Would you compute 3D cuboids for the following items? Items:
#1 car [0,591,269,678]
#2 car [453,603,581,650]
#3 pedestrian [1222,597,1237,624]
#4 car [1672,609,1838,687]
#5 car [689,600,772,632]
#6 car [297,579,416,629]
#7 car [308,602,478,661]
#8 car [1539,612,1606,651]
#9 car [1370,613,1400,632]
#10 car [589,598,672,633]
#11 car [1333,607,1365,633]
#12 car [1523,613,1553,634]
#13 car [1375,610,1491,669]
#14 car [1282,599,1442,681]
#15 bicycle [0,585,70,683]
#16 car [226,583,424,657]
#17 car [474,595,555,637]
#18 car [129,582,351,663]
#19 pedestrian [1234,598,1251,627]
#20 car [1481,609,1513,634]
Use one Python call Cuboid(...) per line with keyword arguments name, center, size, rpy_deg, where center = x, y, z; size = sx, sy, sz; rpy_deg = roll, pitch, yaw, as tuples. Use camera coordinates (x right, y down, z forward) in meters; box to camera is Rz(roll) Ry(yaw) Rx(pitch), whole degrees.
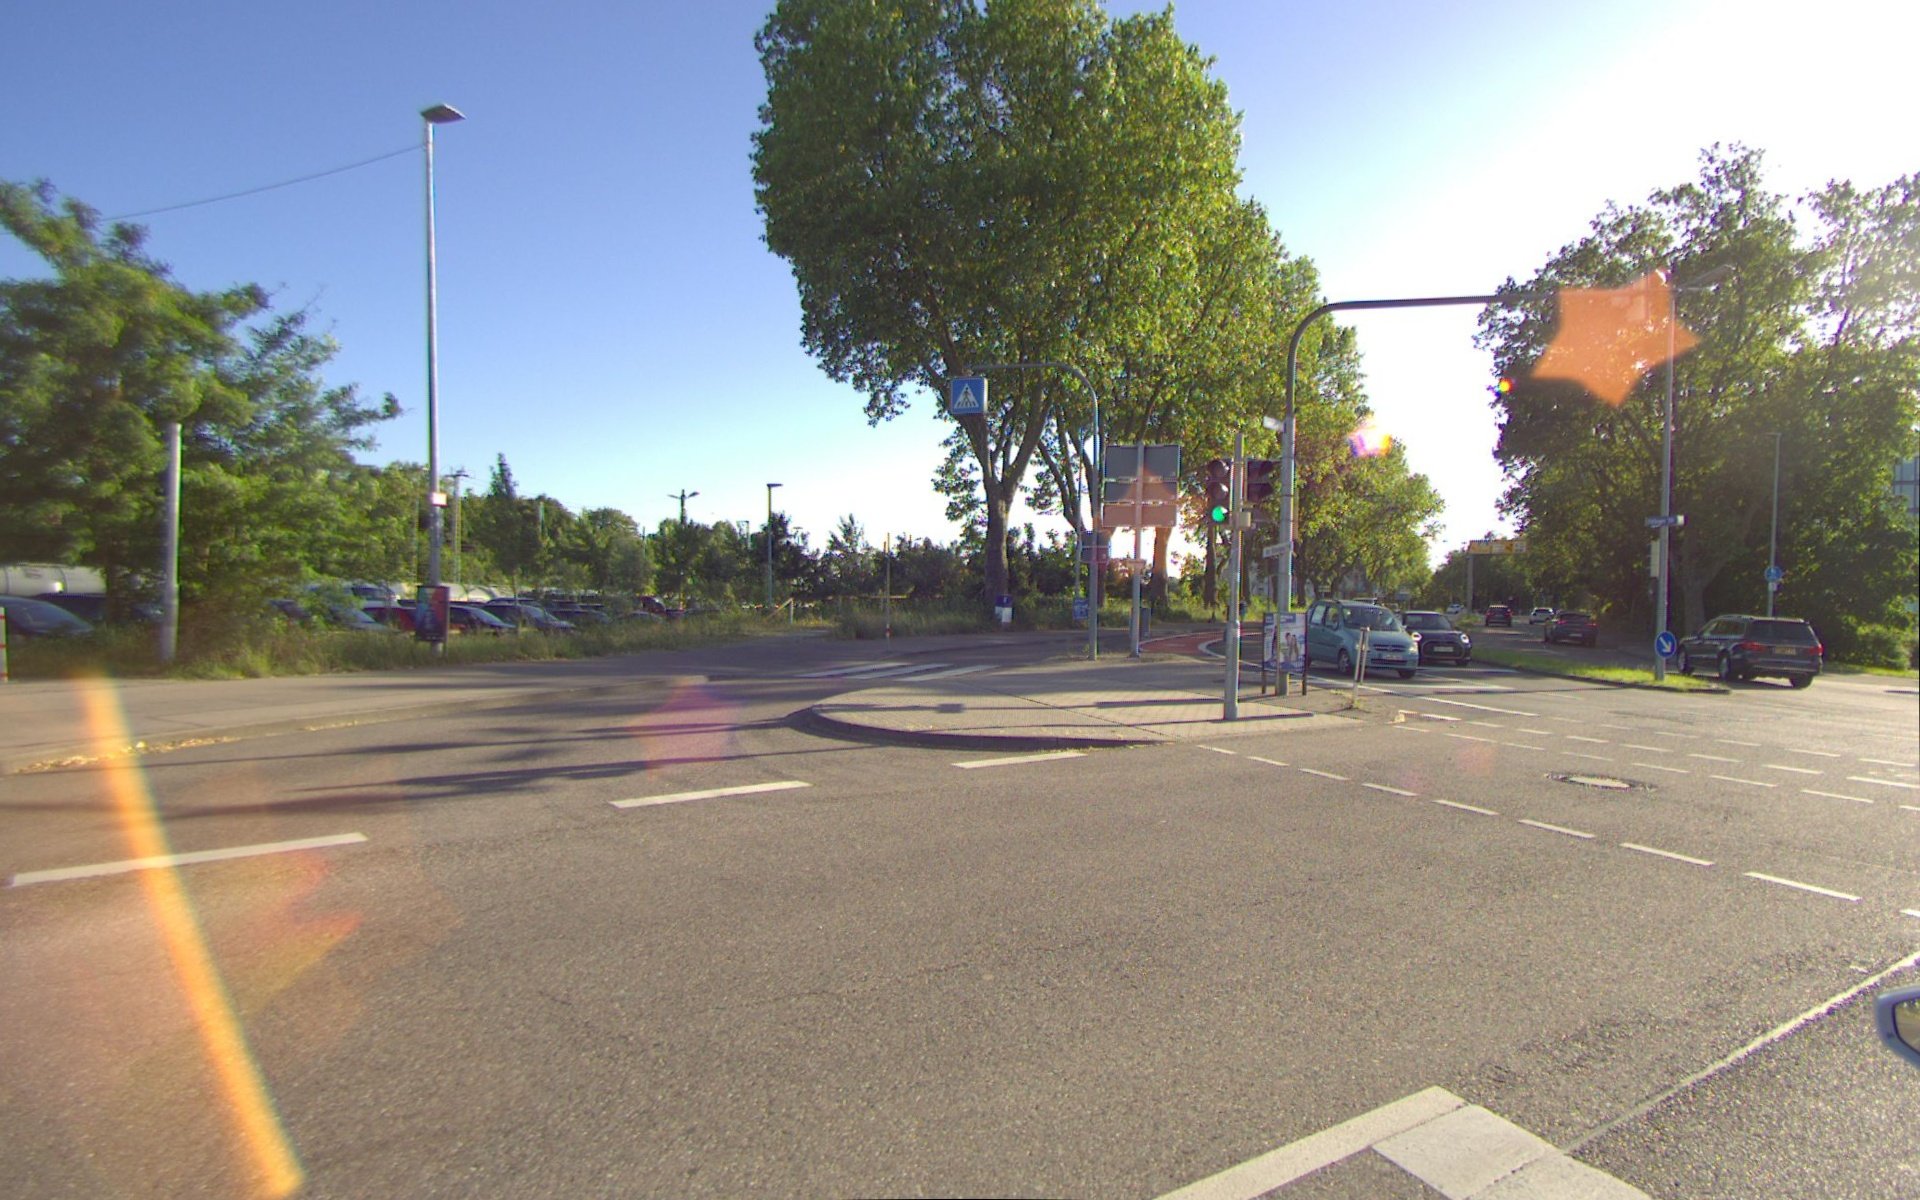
Cuboid(name="car", center=(-16.403, 0.648, 20.006), size=(3.920, 1.500, 1.965), rpy_deg=(2, 0, 2))
Cuboid(name="car", center=(-15.882, 0.918, 36.050), size=(3.922, 1.494, 2.000), rpy_deg=(2, 0, 21))
Cuboid(name="pedestrian", center=(15.919, 0.628, 59.357), size=(0.653, 1.607, 0.630), rpy_deg=(2, 1, 30))
Cuboid(name="car", center=(22.204, 1.266, 28.322), size=(2.077, 1.912, 4.813), rpy_deg=(2, 0, 19))
Cuboid(name="car", center=(-14.493, 1.004, 63.393), size=(4.869, 1.788, 1.998), rpy_deg=(2, 0, 27))
Cuboid(name="car", center=(-25.152, 0.133, 41.801), size=(4.937, 1.863, 2.195), rpy_deg=(2, 0, 31))
Cuboid(name="car", center=(-16.105, 0.865, 28.631), size=(3.919, 1.479, 1.731), rpy_deg=(2, 0, 7))
Cuboid(name="car", center=(29.872, 1.496, 49.108), size=(1.910, 1.736, 4.200), rpy_deg=(2, 0, 20))
Cuboid(name="car", center=(38.600, 2.022, 91.239), size=(1.827, 1.620, 4.315), rpy_deg=(3, 1, 32))
Cuboid(name="car", center=(-18.081, 0.852, 55.057), size=(4.078, 1.729, 1.976), rpy_deg=(2, 0, 26))
Cuboid(name="car", center=(27.973, 1.417, 72.165), size=(1.824, 1.767, 4.262), rpy_deg=(2, 0, 25))
Cuboid(name="car", center=(49.153, 1.956, 85.481), size=(1.824, 1.672, 4.262), rpy_deg=(2, 0, 25))
Cuboid(name="car", center=(13.428, 1.069, 28.765), size=(1.870, 1.446, 3.939), rpy_deg=(3, 0, 8))
Cuboid(name="car", center=(9.308, 0.854, 23.673), size=(1.884, 1.657, 4.119), rpy_deg=(3, 0, -3))
Cuboid(name="bicycle", center=(-17.028, 0.547, 16.900), size=(2.921, 1.638, 0.899), rpy_deg=(2, 1, -30))
Cuboid(name="car", center=(-16.340, 0.493, 25.974), size=(3.920, 1.705, 1.841), rpy_deg=(2, 0, 2))
Cuboid(name="car", center=(-21.600, 0.736, 48.674), size=(3.970, 1.863, 1.734), rpy_deg=(2, 1, 34))
Cuboid(name="car", center=(-16.853, 0.498, 23.653), size=(3.774, 1.687, 2.014), rpy_deg=(2, 0, 2))
Cuboid(name="pedestrian", center=(16.514, 0.722, 58.680), size=(0.717, 1.613, 0.803), rpy_deg=(2, 1, 30))
Cuboid(name="car", center=(40.244, 1.597, 75.213), size=(1.827, 1.767, 4.257), rpy_deg=(2, 0, 31))
